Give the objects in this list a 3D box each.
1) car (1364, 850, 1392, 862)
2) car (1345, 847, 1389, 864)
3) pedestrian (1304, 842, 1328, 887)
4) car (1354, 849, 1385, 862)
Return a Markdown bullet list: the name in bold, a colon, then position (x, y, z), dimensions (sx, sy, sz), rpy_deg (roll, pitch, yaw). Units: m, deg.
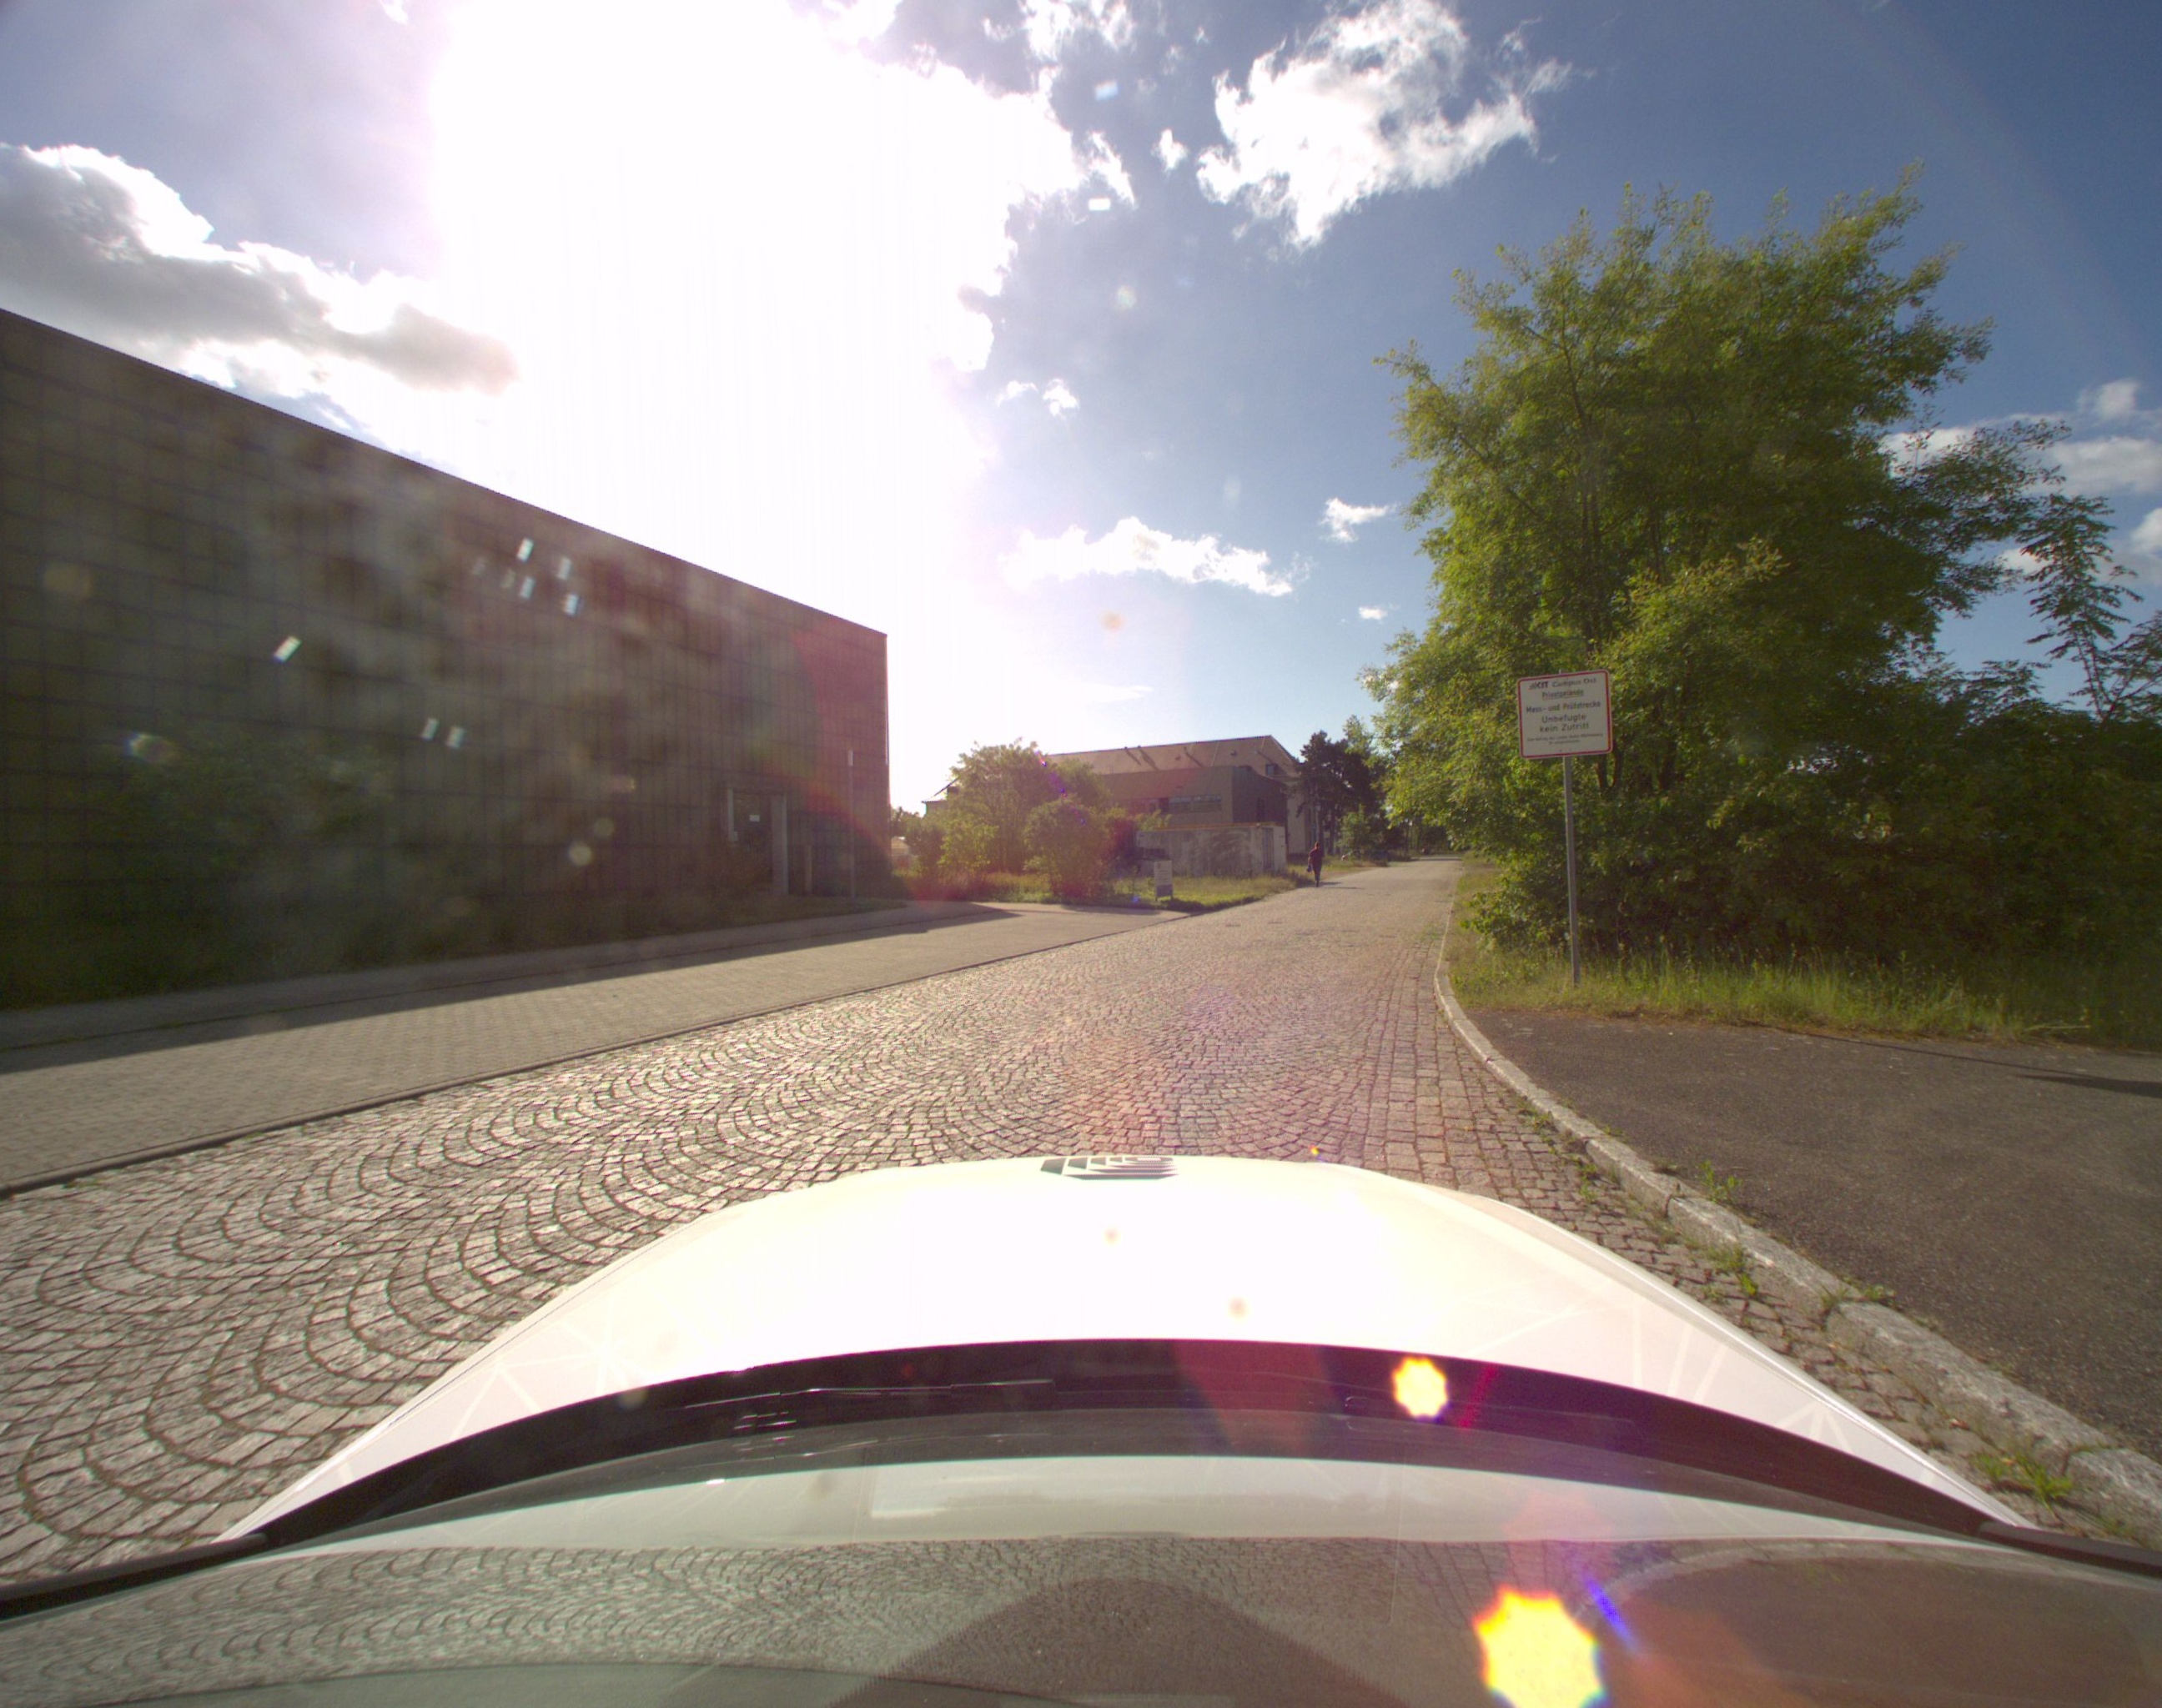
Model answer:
- **car**: position (33.522, 0.203, 91.973), dimensions (2.831, 1.206, 1.380), rpy_deg (-2, 0, 16)
- **car**: position (26.949, 0.150, 76.711), dimensions (3.799, 1.441, 1.592), rpy_deg (-2, 0, 23)
- **pedestrian**: position (9.463, 0.395, 32.810), dimensions (0.788, 1.780, 1.074), rpy_deg (0, 0, 24)
- **car**: position (29.562, 0.167, 83.464), dimensions (2.880, 1.259, 1.293), rpy_deg (-2, 0, 16)
